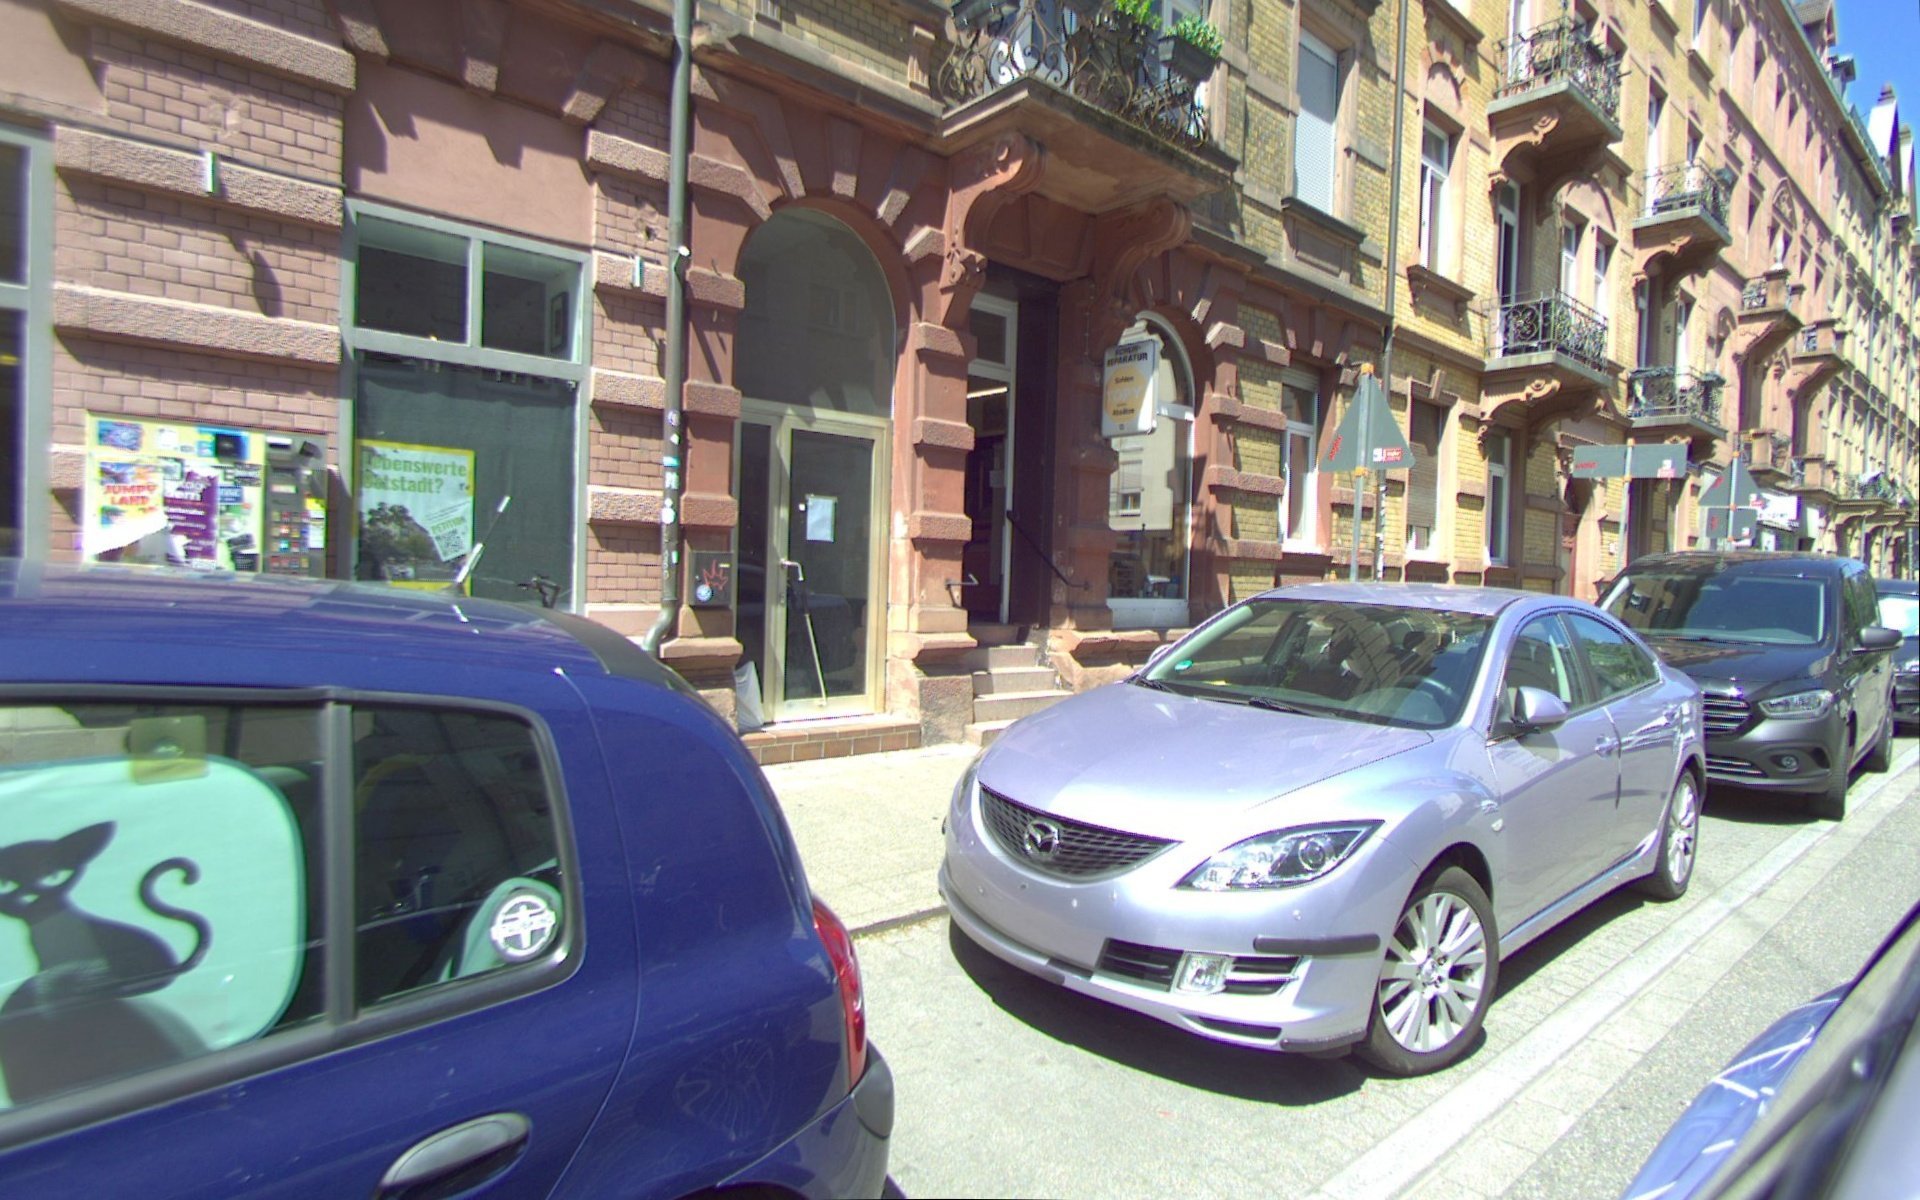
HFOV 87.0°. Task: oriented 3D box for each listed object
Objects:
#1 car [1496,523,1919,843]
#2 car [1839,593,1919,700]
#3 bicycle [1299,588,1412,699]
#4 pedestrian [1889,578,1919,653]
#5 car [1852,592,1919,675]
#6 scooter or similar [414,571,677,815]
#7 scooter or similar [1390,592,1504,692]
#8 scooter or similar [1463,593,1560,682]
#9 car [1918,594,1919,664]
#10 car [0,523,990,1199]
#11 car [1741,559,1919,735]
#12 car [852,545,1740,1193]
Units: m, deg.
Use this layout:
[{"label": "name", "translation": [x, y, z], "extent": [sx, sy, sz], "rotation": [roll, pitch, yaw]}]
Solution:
[{"label": "car", "translation": [5.935, 0.415, 7.774], "extent": [4.264, 1.788, 1.828], "rotation": [0, 3, -43]}, {"label": "car", "translation": [14.665, 0.648, 15.418], "extent": [1.761, 1.468, 3.844], "rotation": [2, 1, 43]}, {"label": "bicycle", "translation": [4.323, 0.443, 11.010], "extent": [1.725, 1.117, 0.354], "rotation": [0, 2, -41]}, {"label": "pedestrian", "translation": [24.859, 0.403, 26.547], "extent": [0.363, 1.938, 0.634], "rotation": [1, 1, -40]}, {"label": "car", "translation": [18.794, 0.615, 19.652], "extent": [3.933, 1.479, 1.827], "rotation": [0, 1, -43]}, {"label": "scooter or similar", "translation": [-2.187, 0.459, 5.398], "extent": [1.246, 1.192, 0.294], "rotation": [1, 1, -31]}, {"label": "scooter or similar", "translation": [6.167, 0.499, 12.765], "extent": [2.111, 1.167, 0.477], "rotation": [0, 1, -41]}, {"label": "scooter or similar", "translation": [7.768, 0.497, 14.216], "extent": [2.075, 1.167, 0.477], "rotation": [0, 1, -41]}, {"label": "car", "translation": [22.388, 0.635, 22.355], "extent": [3.628, 1.480, 1.600], "rotation": [0, 1, -44]}, {"label": "car", "translation": [-1.838, 0.614, 1.145], "extent": [3.598, 1.449, 1.630], "rotation": [0, 3, -43]}, {"label": "car", "translation": [10.731, 0.455, 11.881], "extent": [3.930, 1.755, 1.705], "rotation": [0, 1, -41]}, {"label": "car", "translation": [1.835, 0.580, 4.432], "extent": [4.409, 1.449, 1.728], "rotation": [0, 3, -43]}]
